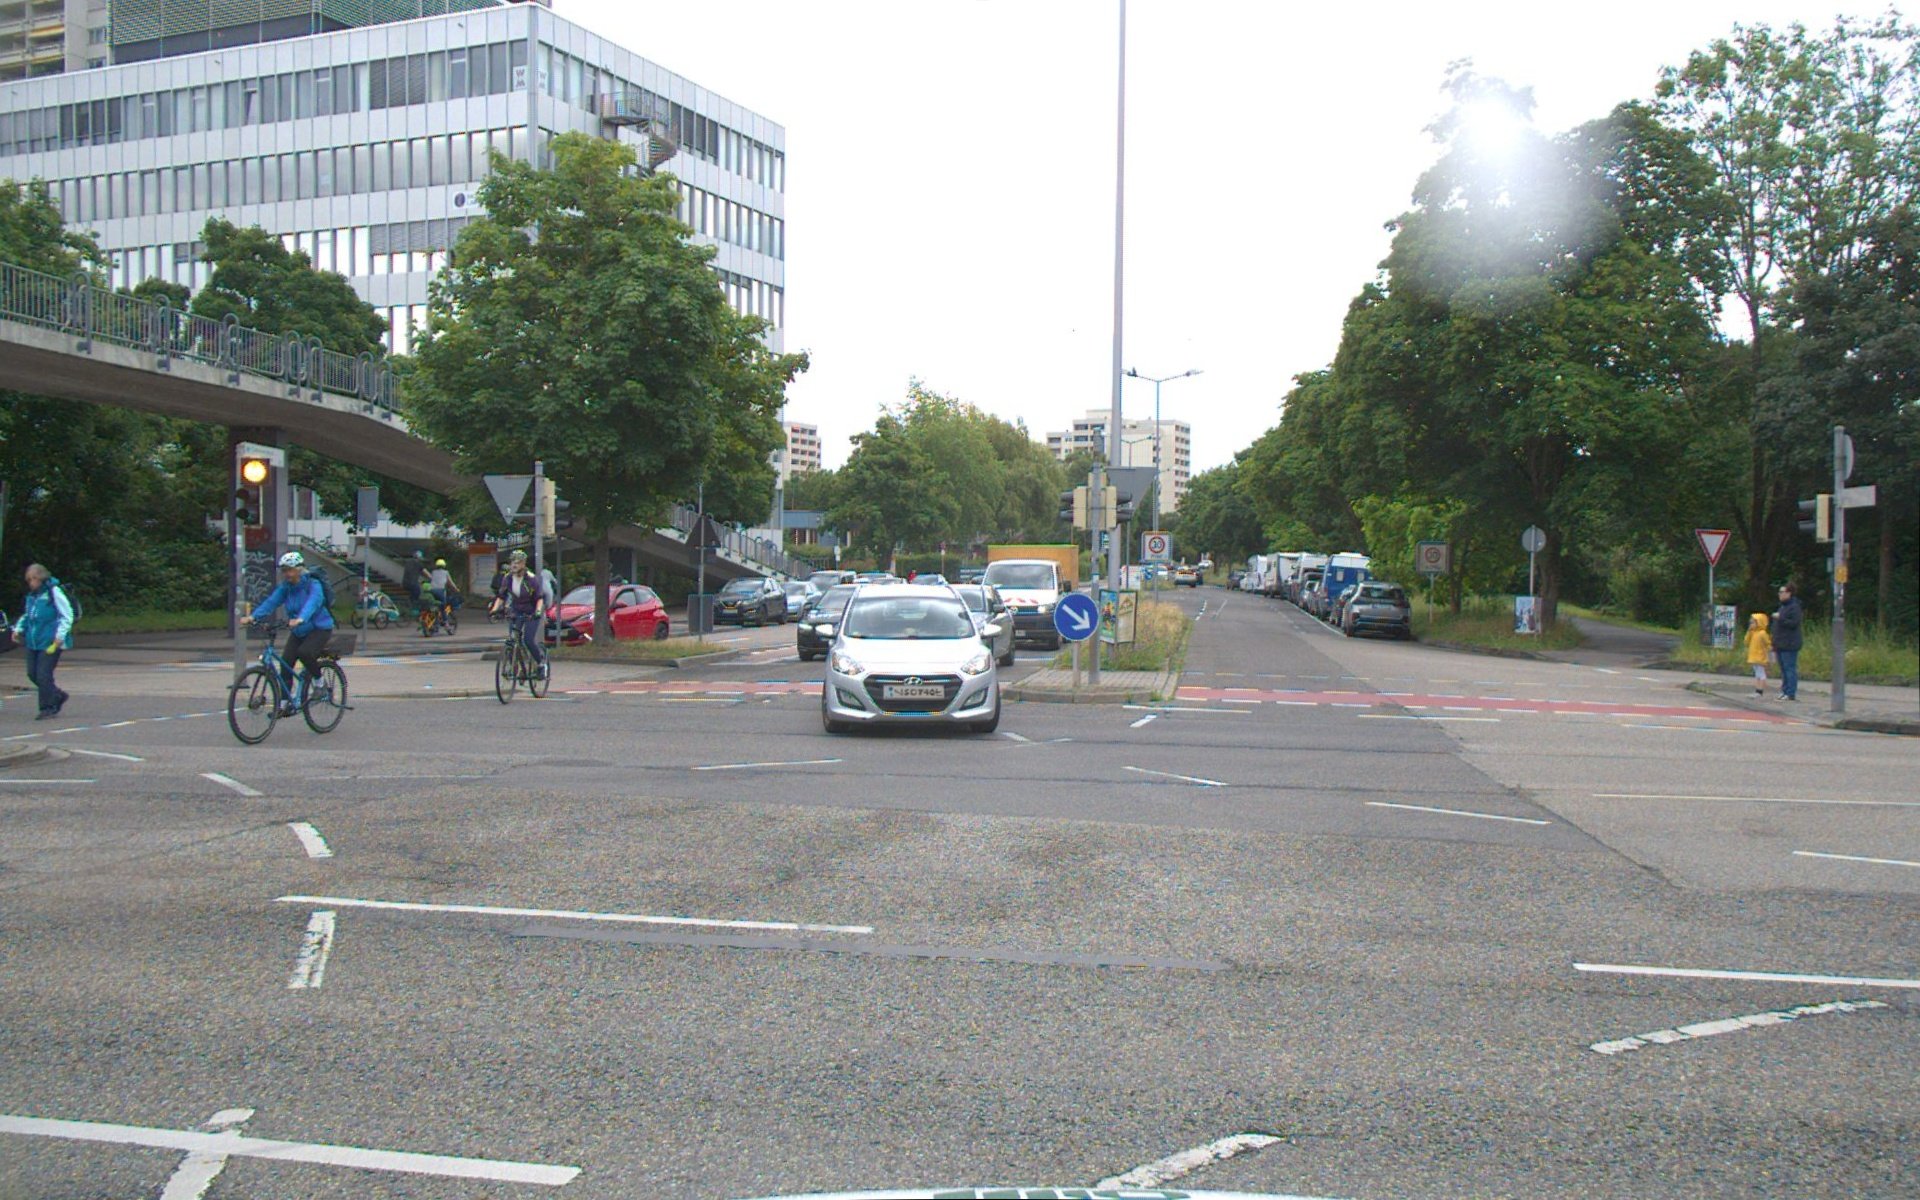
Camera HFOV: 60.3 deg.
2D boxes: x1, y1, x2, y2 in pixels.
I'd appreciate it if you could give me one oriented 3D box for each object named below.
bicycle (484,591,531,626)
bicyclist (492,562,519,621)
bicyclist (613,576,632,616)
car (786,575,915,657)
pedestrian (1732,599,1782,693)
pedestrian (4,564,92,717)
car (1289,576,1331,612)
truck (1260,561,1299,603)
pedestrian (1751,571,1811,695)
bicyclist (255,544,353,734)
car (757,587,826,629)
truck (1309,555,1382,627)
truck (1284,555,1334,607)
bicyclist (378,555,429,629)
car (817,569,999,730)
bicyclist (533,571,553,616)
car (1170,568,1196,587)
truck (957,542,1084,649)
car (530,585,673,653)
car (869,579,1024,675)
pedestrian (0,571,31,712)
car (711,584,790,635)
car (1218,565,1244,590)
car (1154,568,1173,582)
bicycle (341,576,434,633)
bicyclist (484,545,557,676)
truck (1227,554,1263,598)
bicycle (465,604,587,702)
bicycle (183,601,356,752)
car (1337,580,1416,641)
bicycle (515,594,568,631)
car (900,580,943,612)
[{"bbox_3d":[-12.956,0.239,47.376,0.515,0.965,1.710,1,1,15],"label":"bicycle"},{"bbox_3d":[-12.985,-0.253,47.265,0.553,1.673,0.532,1,0,14],"label":"bicyclist"},{"bbox_3d":[-10.392,-0.122,50.905,0.421,1.239,0.568,1,1,6],"label":"bicyclist"},{"bbox_3d":[-2.098,0.269,32.937,1.732,1.503,4.393,1,1,7],"label":"car"},{"bbox_3d":[11.884,0.678,24.669,0.515,1.365,0.525,1,1,7],"label":"pedestrian"},{"bbox_3d":[-9.885,0.426,17.932,0.672,1.633,0.488,1,1,3],"label":"pedestrian"},{"bbox_3d":[17.963,-0.346,85.010,1.683,1.790,4.003,1,1,5],"label":"car"},{"bbox_3d":[20.544,-1.135,106.503,1.951,2.617,5.382,1,0,5],"label":"truck"},{"bbox_3d":[11.937,0.469,24.051,0.643,1.780,0.459,1,1,7],"label":"pedestrian"},{"bbox_3d":[-6.394,0.366,16.141,0.630,1.799,0.647,1,1,9],"label":"bicyclist"},{"bbox_3d":[-6.116,0.271,60.422,1.636,1.411,3.899,1,1,8],"label":"car"},{"bbox_3d":[15.164,-0.349,65.401,2.128,2.703,6.251,0,0,7],"label":"truck"},{"bbox_3d":[19.889,-1.080,94.408,1.952,2.887,5.734,1,1,3],"label":"truck"},{"bbox_3d":[-14.596,-0.223,43.434,0.838,1.925,1.129,1,1,9],"label":"bicyclist"},{"bbox_3d":[-0.464,0.444,18.117,1.752,1.545,4.326,0,1,1],"label":"car"},{"bbox_3d":[-11.207,-0.182,44.473,0.396,1.202,0.377,1,1,9],"label":"bicyclist"},{"bbox_3d":[18.682,-1.890,138.757,1.977,1.531,4.003,1,1,5],"label":"car"},{"bbox_3d":[1.489,-0.153,37.814,2.109,2.237,5.846,1,1,10],"label":"truck"},{"bbox_3d":[-7.924,0.390,36.844,1.480,1.414,3.534,1,0,19],"label":"car"},{"bbox_3d":[-0.125,0.382,28.004,1.856,1.445,4.740,1,1,9],"label":"car"},{"bbox_3d":[-10.856,0.447,18.311,0.899,1.537,0.403,1,1,-4],"label":"pedestrian"},{"bbox_3d":[-6.929,0.275,54.981,1.636,1.579,3.895,1,1,8],"label":"car"},{"bbox_3d":[21.770,-1.826,133.141,1.617,1.951,3.921,1,2,3],"label":"car"},{"bbox_3d":[21.745,-2.695,177.061,1.977,1.531,4.003,1,1,7],"label":"car"},{"bbox_3d":[-14.706,0.086,42.582,0.838,1.338,3.233,1,2,9],"label":"bicycle"},{"bbox_3d":[-5.533,0.125,20.861,0.664,1.622,0.695,1,0,7],"label":"bicyclist"},{"bbox_3d":[20.215,-1.686,117.429,1.951,3.061,5.775,1,0,4],"label":"truck"},{"bbox_3d":[-5.486,0.638,21.062,0.711,1.120,2.266,1,1,7],"label":"bicycle"},{"bbox_3d":[-6.498,0.679,15.687,0.531,1.289,2.112,1,1,7],"label":"bicycle"},{"bbox_3d":[12.255,0.264,48.825,1.746,1.691,4.003,1,1,7],"label":"car"},{"bbox_3d":[-11.281,0.324,44.624,0.746,0.965,1.955,1,1,6],"label":"bicycle"},{"bbox_3d":[-1.971,-0.242,85.771,1.636,1.579,4.003,1,1,8],"label":"car"}]
